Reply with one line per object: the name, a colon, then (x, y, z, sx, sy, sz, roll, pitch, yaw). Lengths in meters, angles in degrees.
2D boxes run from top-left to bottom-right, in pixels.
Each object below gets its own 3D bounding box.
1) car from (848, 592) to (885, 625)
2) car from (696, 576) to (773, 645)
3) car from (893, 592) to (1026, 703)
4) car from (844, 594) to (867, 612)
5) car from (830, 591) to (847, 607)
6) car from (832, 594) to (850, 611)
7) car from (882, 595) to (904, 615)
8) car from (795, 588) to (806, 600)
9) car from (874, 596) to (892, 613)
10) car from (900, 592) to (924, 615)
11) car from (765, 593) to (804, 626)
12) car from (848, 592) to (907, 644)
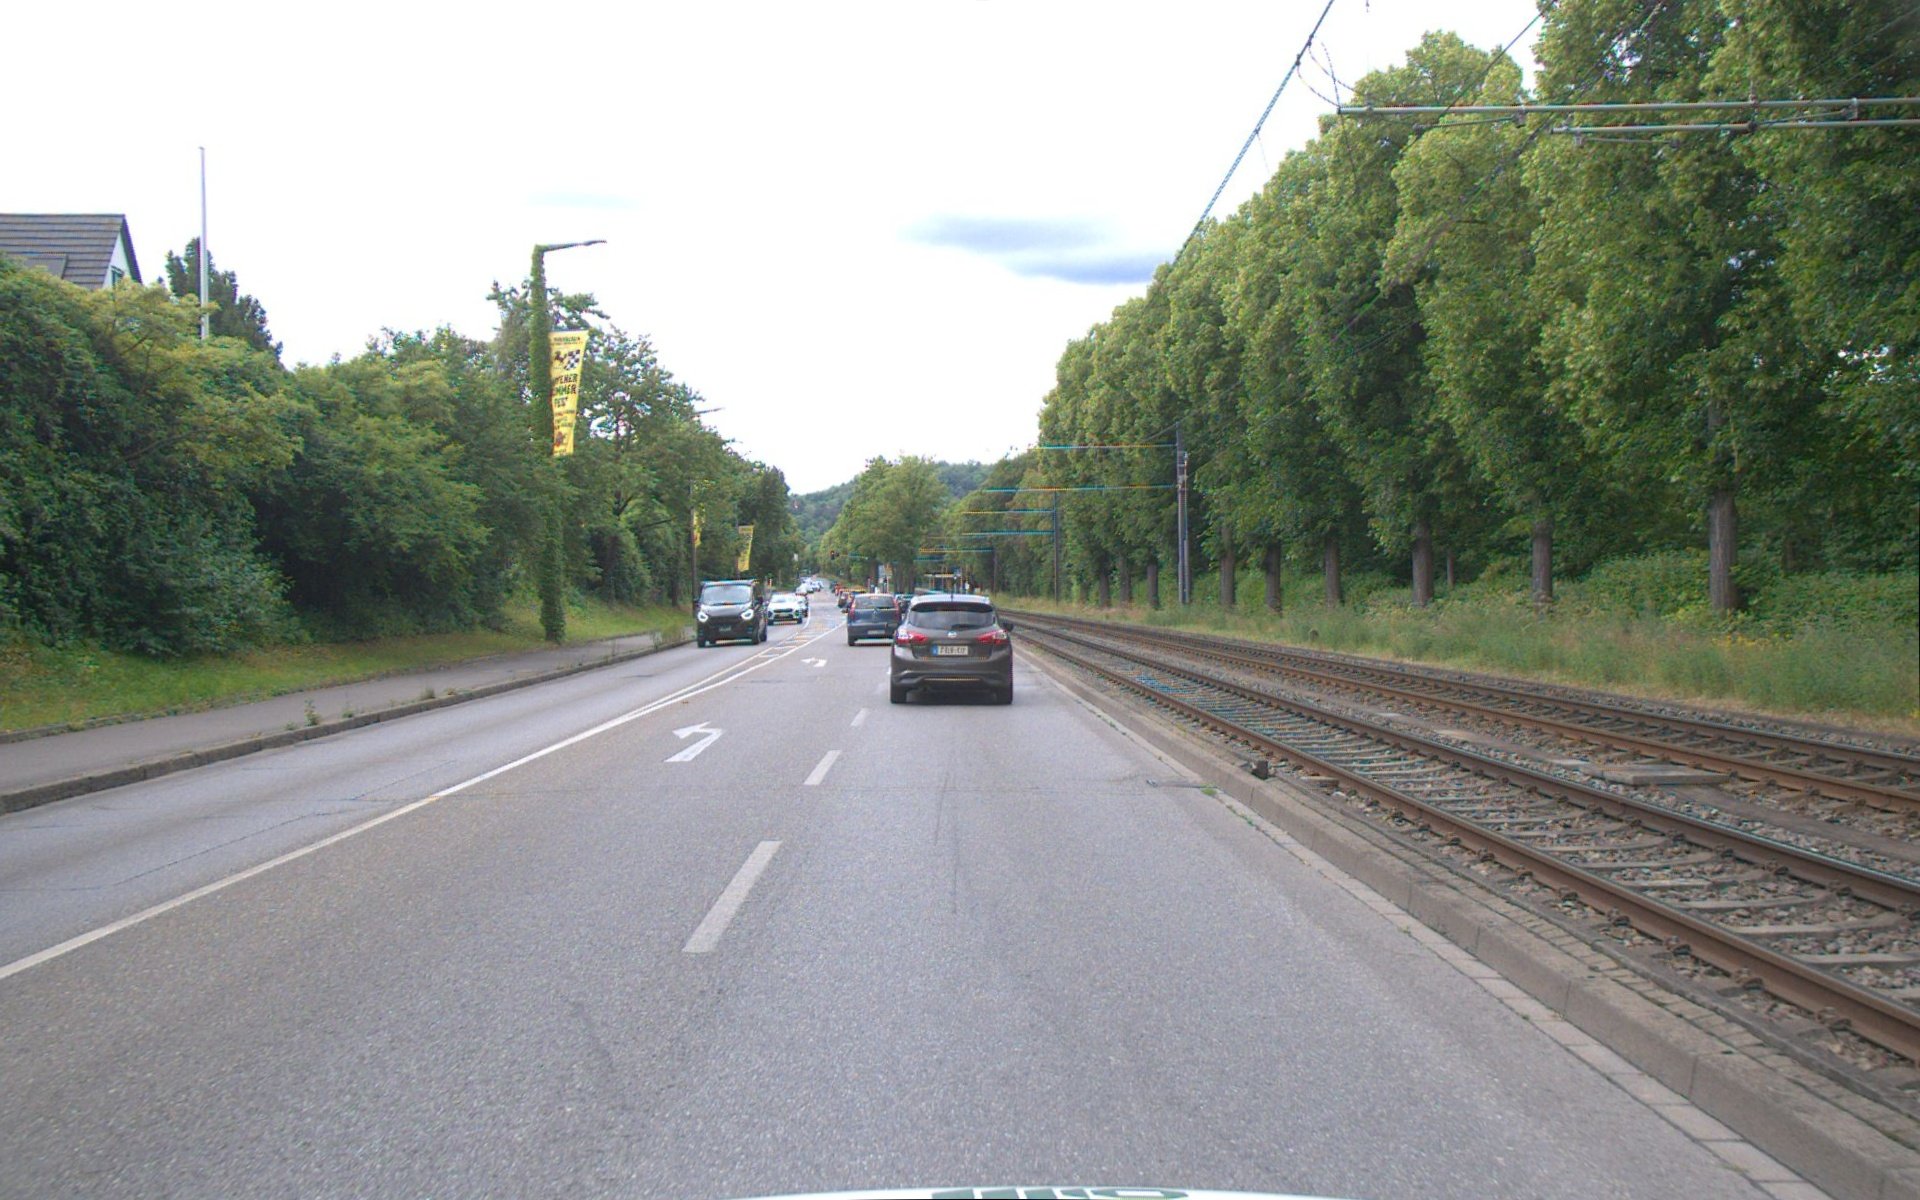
car: (-4.287, 0.382, 76.348, 1.665, 1.469, 3.998, 0, 0, -2)
car: (-7.285, 0.325, 53.953, 1.954, 2.071, 5.113, -2, 0, -3)
car: (-0.030, 0.638, 24.565, 1.813, 1.519, 3.999, 0, 0, -1)
car: (-9.286, 0.279, 147.174, 1.757, 1.537, 4.000, 0, 0, -1)
car: (-13.488, -0.142, 183.345, 1.665, 1.744, 4.000, 0, 0, -1)
car: (-12.466, 0.276, 173.625, 1.665, 1.744, 4.000, 0, 0, -1)
car: (-5.313, 0.381, 131.132, 1.681, 1.577, 3.998, 0, 0, -2)
car: (-24.295, -0.925, 251.916, 1.681, 1.791, 3.996, 0, 0, -4)
car: (-7.134, 0.461, 153.888, 1.681, 1.577, 3.998, 0, 0, -2)
car: (-3.385, 0.257, 115.785, 1.681, 1.577, 3.998, 0, 0, -2)
car: (-9.560, 0.505, 90.148, 1.805, 1.648, 4.157, -2, 0, -3)
car: (-2.443, 0.513, 49.058, 1.666, 1.469, 3.998, 0, 0, -3)
